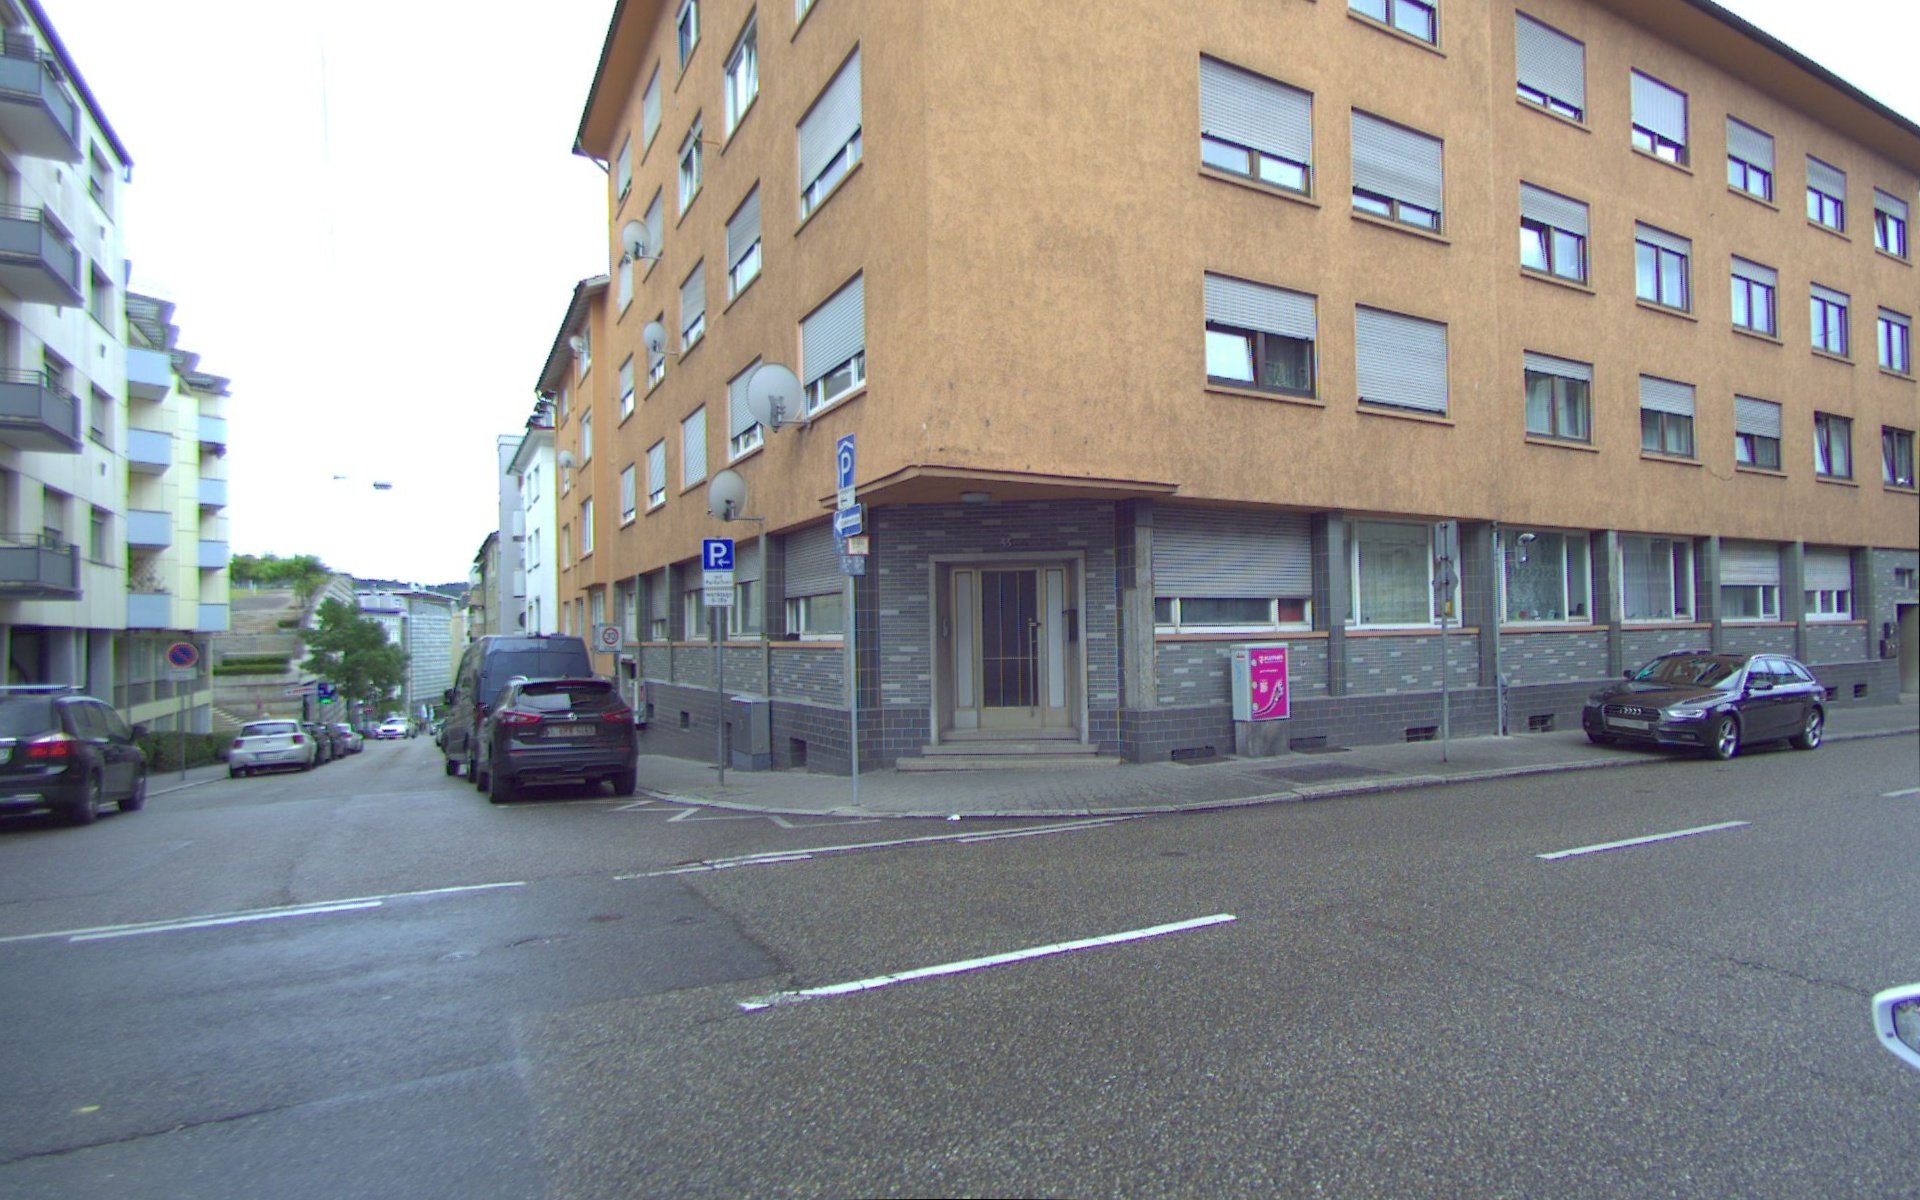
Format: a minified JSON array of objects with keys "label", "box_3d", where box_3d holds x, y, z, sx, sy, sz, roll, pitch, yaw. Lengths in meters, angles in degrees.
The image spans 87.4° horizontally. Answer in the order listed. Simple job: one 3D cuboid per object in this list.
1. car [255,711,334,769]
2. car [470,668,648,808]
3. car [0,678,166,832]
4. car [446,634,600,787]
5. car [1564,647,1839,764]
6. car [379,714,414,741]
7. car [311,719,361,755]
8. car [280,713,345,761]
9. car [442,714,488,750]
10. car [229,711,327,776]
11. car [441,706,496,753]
[{"label":"car","box_3d":[-21.042,4.411,31.901,1.727,1.634,3.973,1,-7,-29]},{"label":"car","box_3d":[-5.718,1.889,14.027,1.820,1.596,4.127,1,-7,-29]},{"label":"car","box_3d":[-11.936,2.003,13.071,1.773,1.708,4.216,1,-7,-29]},{"label":"car","box_3d":[-8.688,2.143,19.632,2.223,2.492,6.018,1,-7,-29]},{"label":"car","box_3d":[11.420,1.505,15.401,4.474,1.457,1.786,1,0,-31]},{"label":"car","box_3d":[-38.397,8.702,68.521,1.906,1.696,4.029,1,-7,-27]},{"label":"car","box_3d":[-28.900,6.368,46.592,1.727,1.483,3.974,1,-8,-29]},{"label":"car","box_3d":[-24.334,5.159,37.857,1.727,1.634,3.974,1,-8,-29]},{"label":"car","box_3d":[-22.757,6.048,46.117,1.701,1.513,4.026,1,-7,-29]},{"label":"car","box_3d":[-18.617,3.904,27.581,1.818,1.566,3.973,1,-7,-29]},{"label":"car","box_3d":[-19.887,5.222,40.544,1.796,1.696,4.026,1,-7,-29]}]
